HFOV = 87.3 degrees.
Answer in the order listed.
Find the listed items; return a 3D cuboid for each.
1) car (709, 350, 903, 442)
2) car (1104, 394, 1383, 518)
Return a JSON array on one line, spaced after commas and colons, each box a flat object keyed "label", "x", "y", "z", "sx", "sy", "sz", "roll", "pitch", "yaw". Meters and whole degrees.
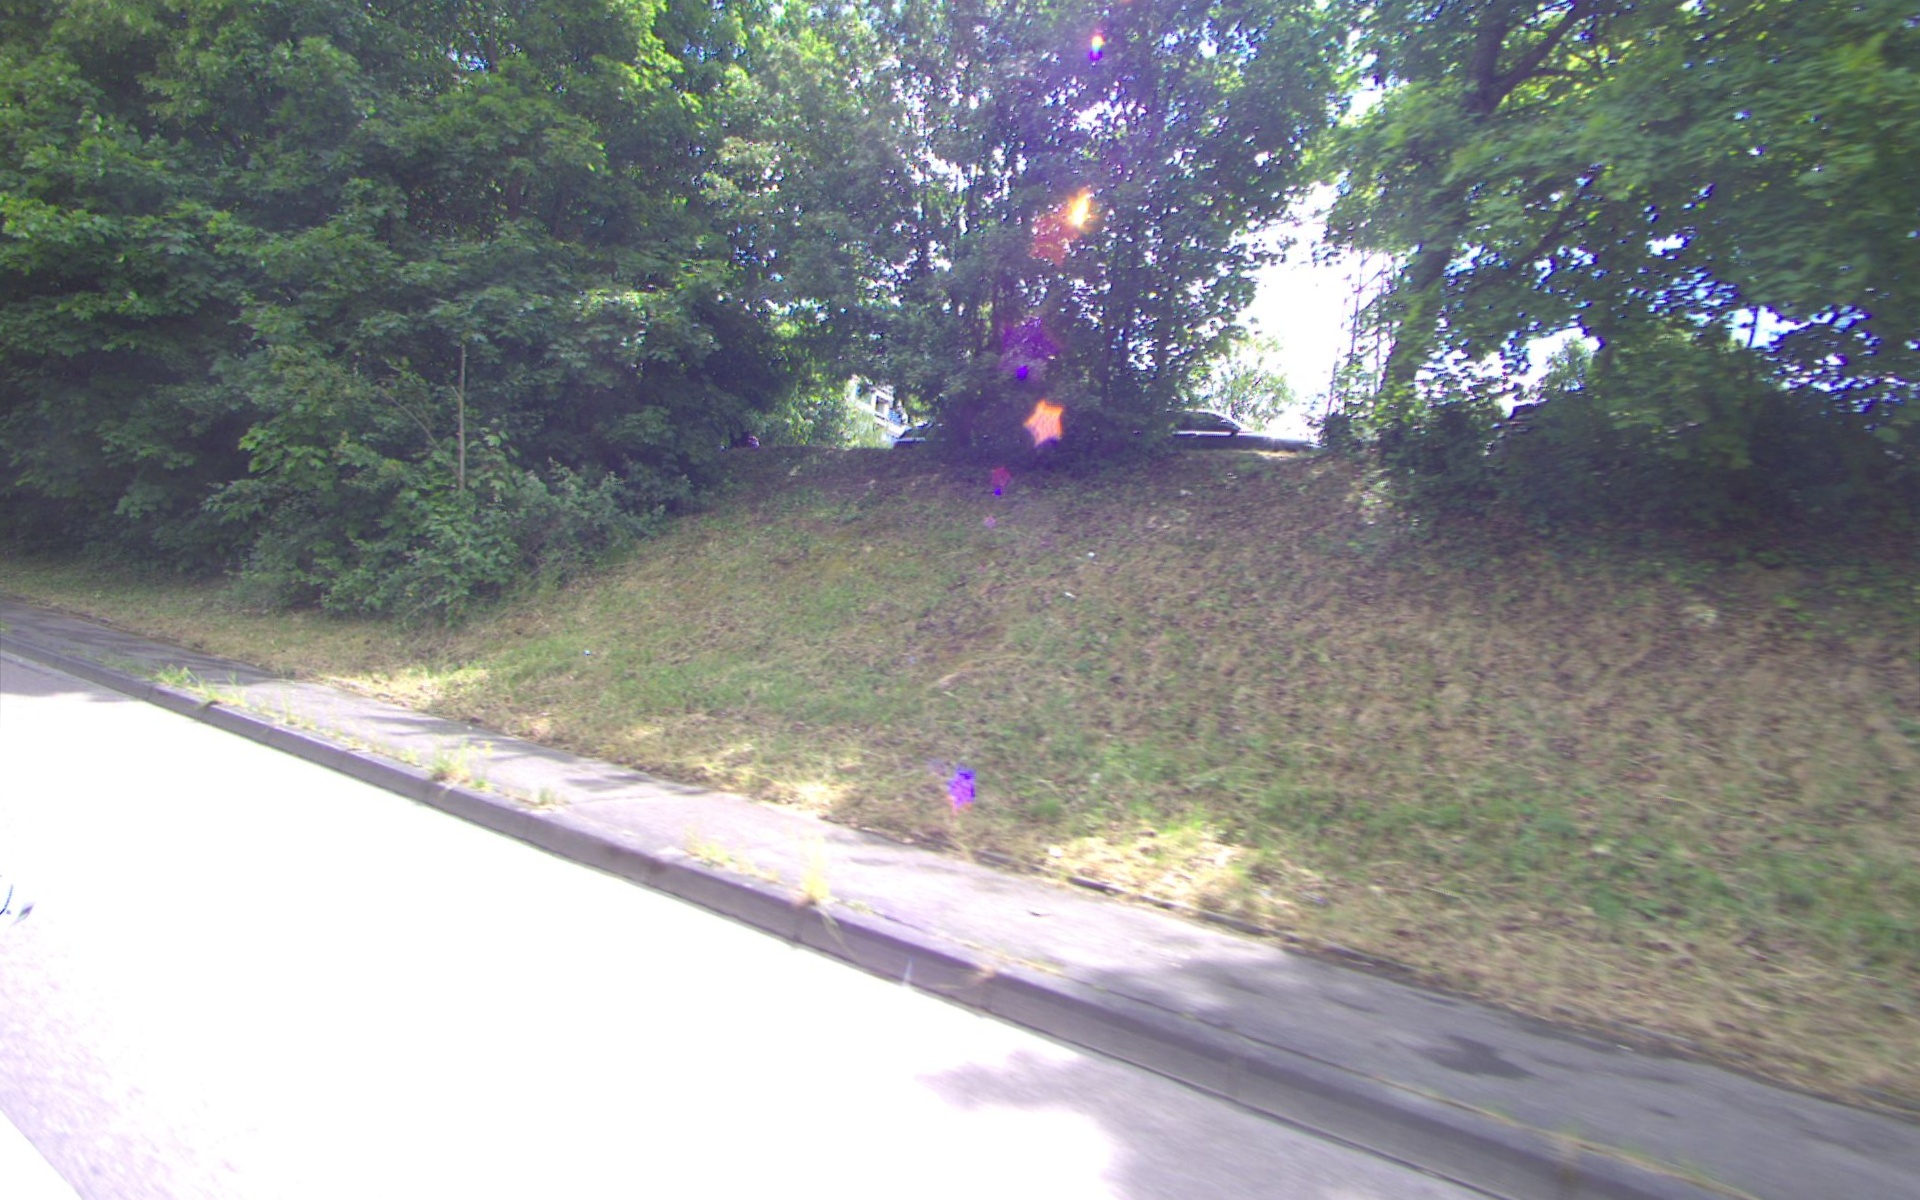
[{"label": "car", "x": -3.470, "y": -4.542, "z": 22.590, "sx": 3.930, "sy": 1.516, "sz": 1.778, "roll": 7, "pitch": -2, "yaw": 30}, {"label": "car", "x": 4.594, "y": -2.352, "z": 16.409, "sx": 3.930, "sy": 1.516, "sz": 1.778, "roll": 7, "pitch": -2, "yaw": 30}]
